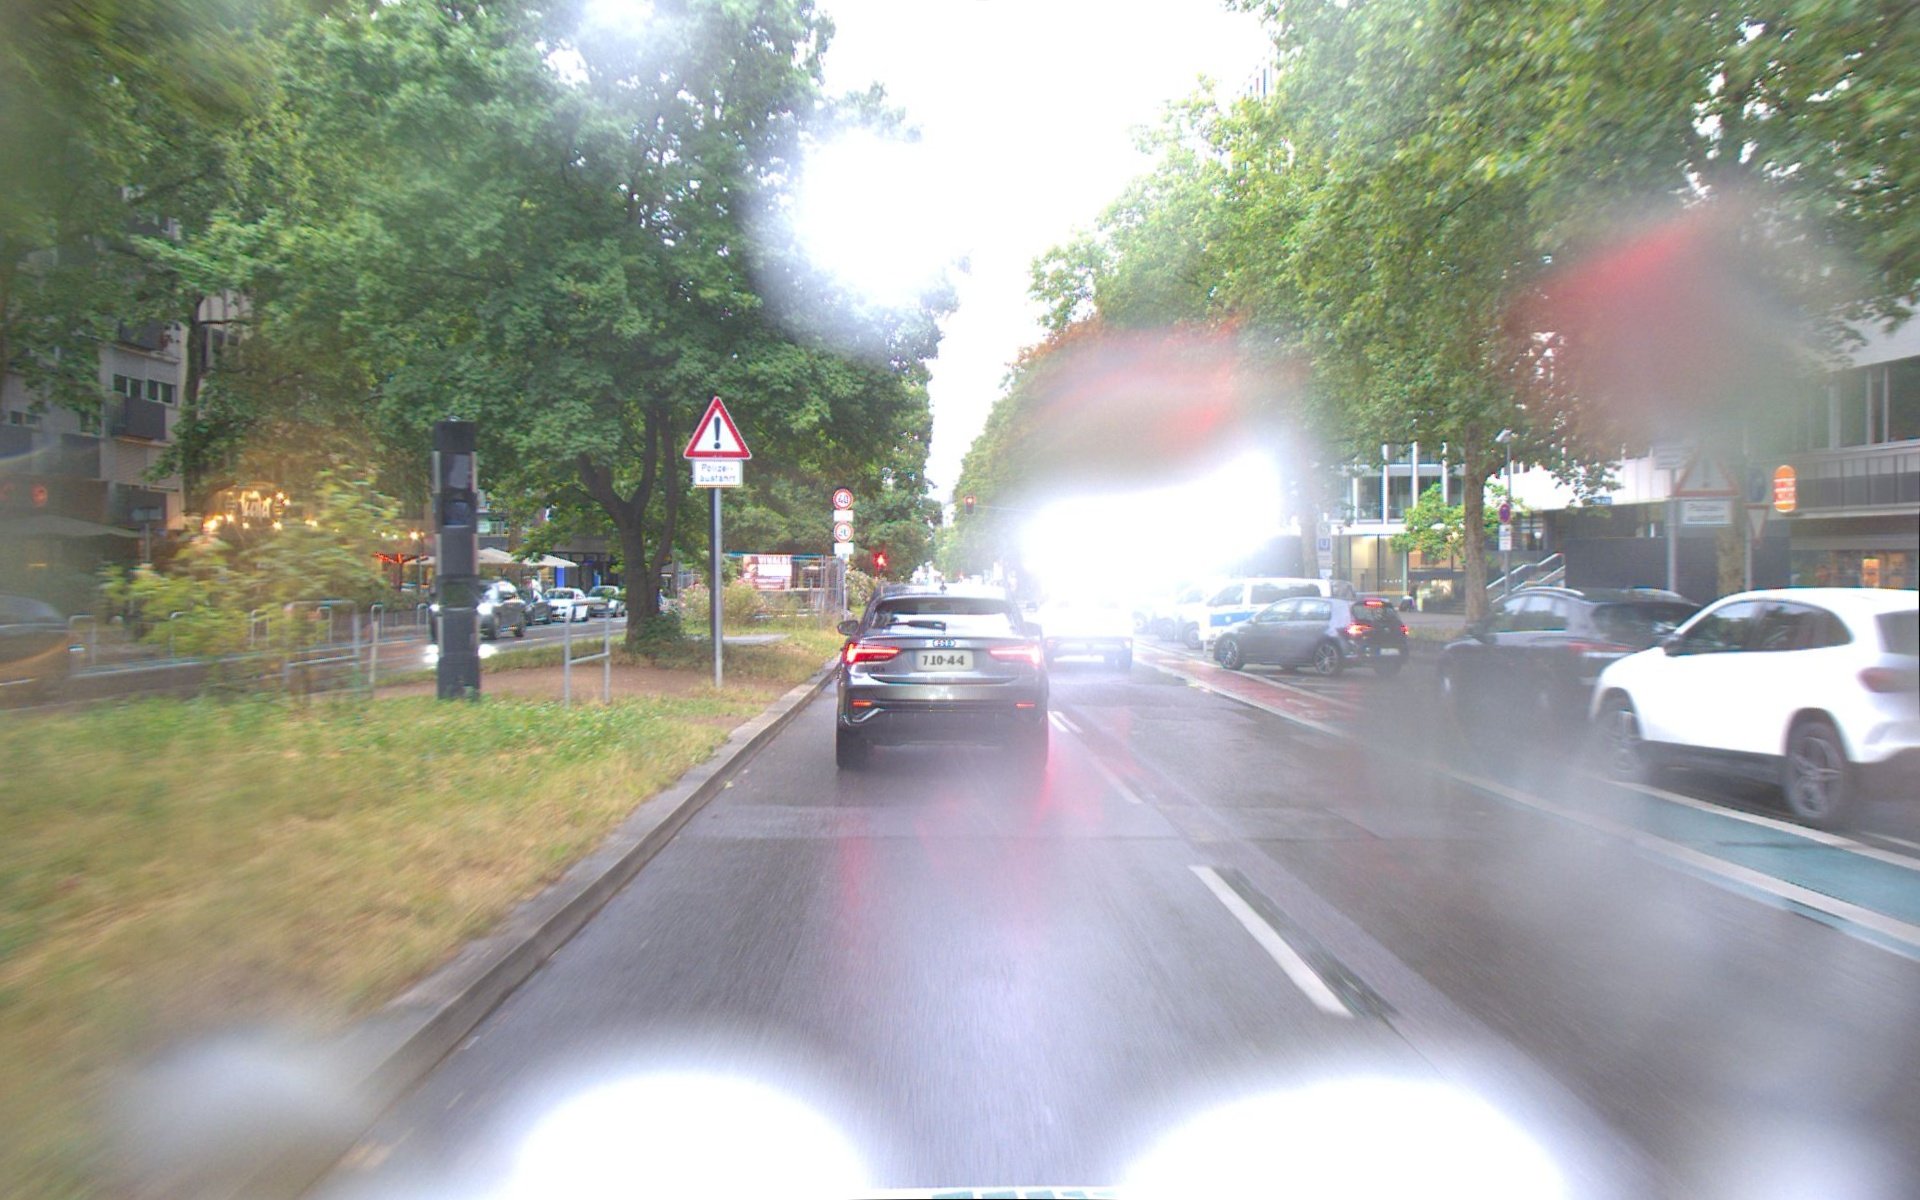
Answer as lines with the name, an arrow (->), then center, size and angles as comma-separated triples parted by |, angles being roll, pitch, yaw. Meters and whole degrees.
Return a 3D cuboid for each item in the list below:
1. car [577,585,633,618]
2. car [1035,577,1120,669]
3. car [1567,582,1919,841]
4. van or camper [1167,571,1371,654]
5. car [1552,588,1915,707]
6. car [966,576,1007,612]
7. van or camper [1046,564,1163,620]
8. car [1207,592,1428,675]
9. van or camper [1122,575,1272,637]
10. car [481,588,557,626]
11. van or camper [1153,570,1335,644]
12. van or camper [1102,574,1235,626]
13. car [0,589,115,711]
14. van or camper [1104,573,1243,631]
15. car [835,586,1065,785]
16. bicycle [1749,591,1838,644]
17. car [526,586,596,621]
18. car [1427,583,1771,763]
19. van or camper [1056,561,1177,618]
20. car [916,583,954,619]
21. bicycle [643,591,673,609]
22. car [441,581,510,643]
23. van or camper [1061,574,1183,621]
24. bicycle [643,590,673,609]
car -> -17.479, 0.071, 81.608 | 1.954, 1.535, 4.515 | -1, 1, -3
car -> 2.274, 0.409, 32.601 | 1.404, 1.714, 2.978 | -1, 1, -1
car -> 6.476, 0.683, 12.624 | 1.717, 1.613, 4.405 | 1, 1, -6
van or camper -> 8.001, 0.291, 43.085 | 4.850, 2.026, 1.994 | 1, 0, 37
car -> 11.227, 0.655, 24.266 | 1.850, 1.470, 4.444 | 7, -4, -40
car -> 1.325, -0.333, 84.328 | 1.953, 1.780, 3.999 | 0, 1, -1
van or camper -> 7.363, -0.418, 84.428 | 5.700, 2.724, 2.139 | 0, 0, 37
car -> 6.645, 0.575, 31.125 | 1.751, 1.437, 3.950 | -1, 1, -35
van or camper -> 8.048, 0.166, 56.395 | 4.757, 2.033, 1.861 | 0, 0, 36
car -> -17.037, 0.243, 64.117 | 1.788, 1.419, 4.483 | 0, 0, -1
van or camper -> 8.472, 0.184, 49.500 | 4.986, 2.054, 1.990 | 2, 1, 36
van or camper -> 8.413, -0.028, 67.023 | 5.007, 2.060, 2.098 | 0, 1, 37
car -> -13.064, 0.640, 21.205 | 1.952, 1.518, 4.757 | -1, 1, 1
van or camper -> 7.767, 0.070, 60.359 | 4.697, 2.046, 1.993 | 0, 0, 35
car -> -0.075, 0.660, 15.377 | 1.825, 1.559, 4.527 | 0, 1, 0
bicycle -> 17.403, 0.350, 34.571 | 0.629, 0.938, 1.911 | -8, 2, -6
car -> -17.103, 0.131, 71.089 | 1.953, 1.394, 4.539 | 2, 1, -1
car -> 6.529, 0.661, 17.490 | 1.757, 1.631, 4.422 | 1, 0, -3
van or camper -> 7.622, -0.499, 80.986 | 5.692, 2.727, 1.994 | 0, 0, 35
car -> -1.150, 0.019, 76.020 | 1.687, 1.605, 3.961 | 0, 1, -1
bicycle -> -19.245, -0.003, 105.336 | 1.810, 1.156, 0.565 | -1, 1, -8
car -> -13.731, 0.309, 47.034 | 1.690, 1.654, 4.425 | 0, 1, -14
van or camper -> 7.255, -0.110, 74.370 | 5.101, 2.027, 1.994 | 1, 0, 34
bicycle -> -19.339, -0.027, 105.980 | 1.810, 1.169, 0.565 | -1, 1, -8
